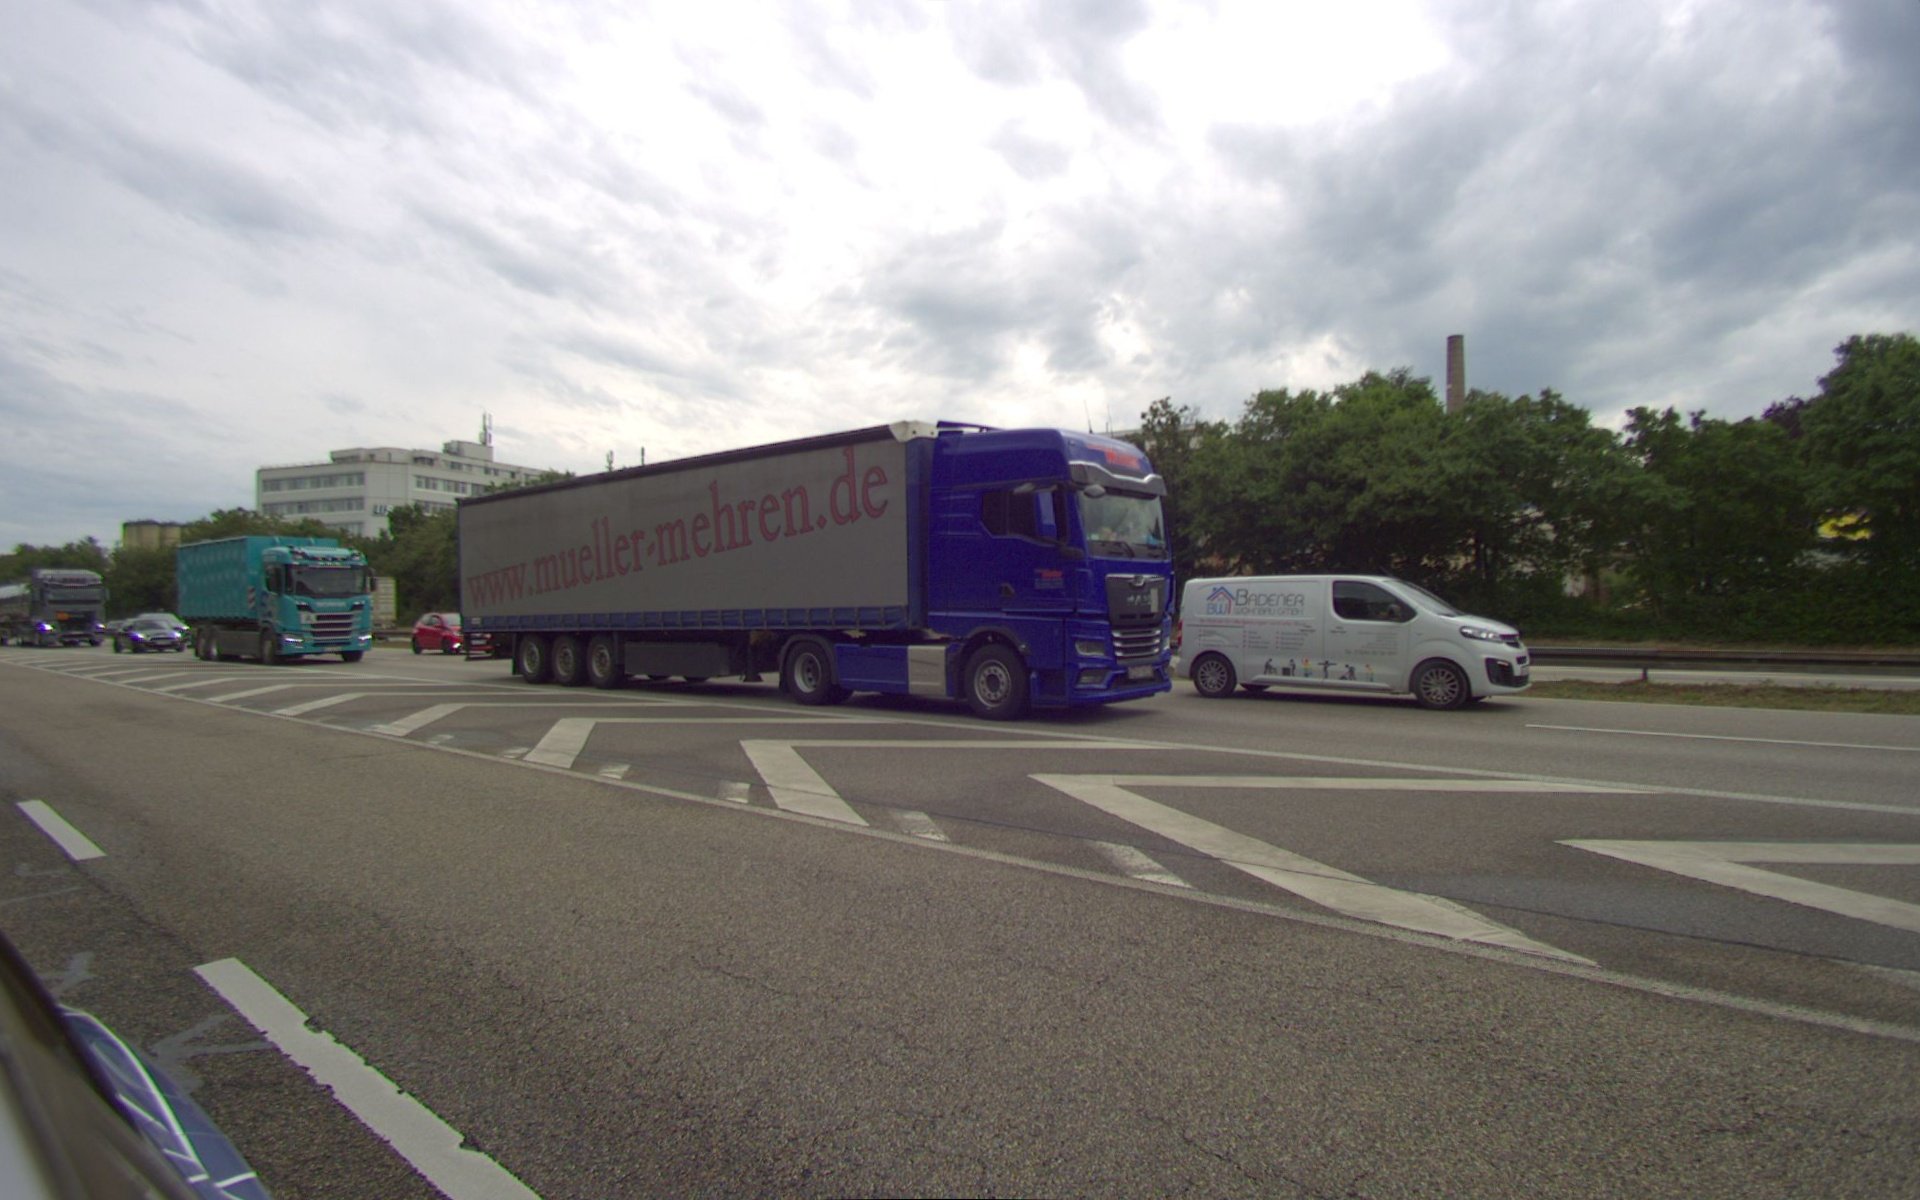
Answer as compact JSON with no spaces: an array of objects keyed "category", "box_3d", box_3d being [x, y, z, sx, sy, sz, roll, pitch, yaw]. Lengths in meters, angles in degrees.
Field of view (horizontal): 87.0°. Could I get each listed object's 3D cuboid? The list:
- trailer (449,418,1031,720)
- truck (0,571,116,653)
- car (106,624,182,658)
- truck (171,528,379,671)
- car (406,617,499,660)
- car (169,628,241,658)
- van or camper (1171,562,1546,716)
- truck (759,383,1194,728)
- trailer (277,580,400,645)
[{"category":"trailer","box_3d":[-5.108,-0.288,18.921,13.907,4.005,2.646,-1,-1,40]},{"category":"truck","box_3d":[-49.113,0.696,54.049,13.121,3.955,3.289,-1,-1,37]},{"category":"car","box_3d":[-33.959,1.690,42.082,3.996,1.332,1.735,-1,-1,40]},{"category":"truck","box_3d":[-22.408,0.073,32.780,10.111,4.031,2.667,-1,-1,38]},{"category":"car","box_3d":[-17.865,1.313,35.579,3.445,1.429,1.724,-1,-1,41]},{"category":"car","box_3d":[-38.099,2.127,51.057,4.049,1.444,1.875,-1,-1,37]},{"category":"van or camper","box_3d":[5.786,0.543,15.074,4.846,1.935,1.901,-1,-1,39]},{"category":"truck","box_3d":[0.052,-0.467,14.617,5.922,3.991,2.642,-1,-1,40]},{"category":"trailer","box_3d":[-42.024,0.910,68.141,13.054,4.060,2.375,-1,-1,37]}]
